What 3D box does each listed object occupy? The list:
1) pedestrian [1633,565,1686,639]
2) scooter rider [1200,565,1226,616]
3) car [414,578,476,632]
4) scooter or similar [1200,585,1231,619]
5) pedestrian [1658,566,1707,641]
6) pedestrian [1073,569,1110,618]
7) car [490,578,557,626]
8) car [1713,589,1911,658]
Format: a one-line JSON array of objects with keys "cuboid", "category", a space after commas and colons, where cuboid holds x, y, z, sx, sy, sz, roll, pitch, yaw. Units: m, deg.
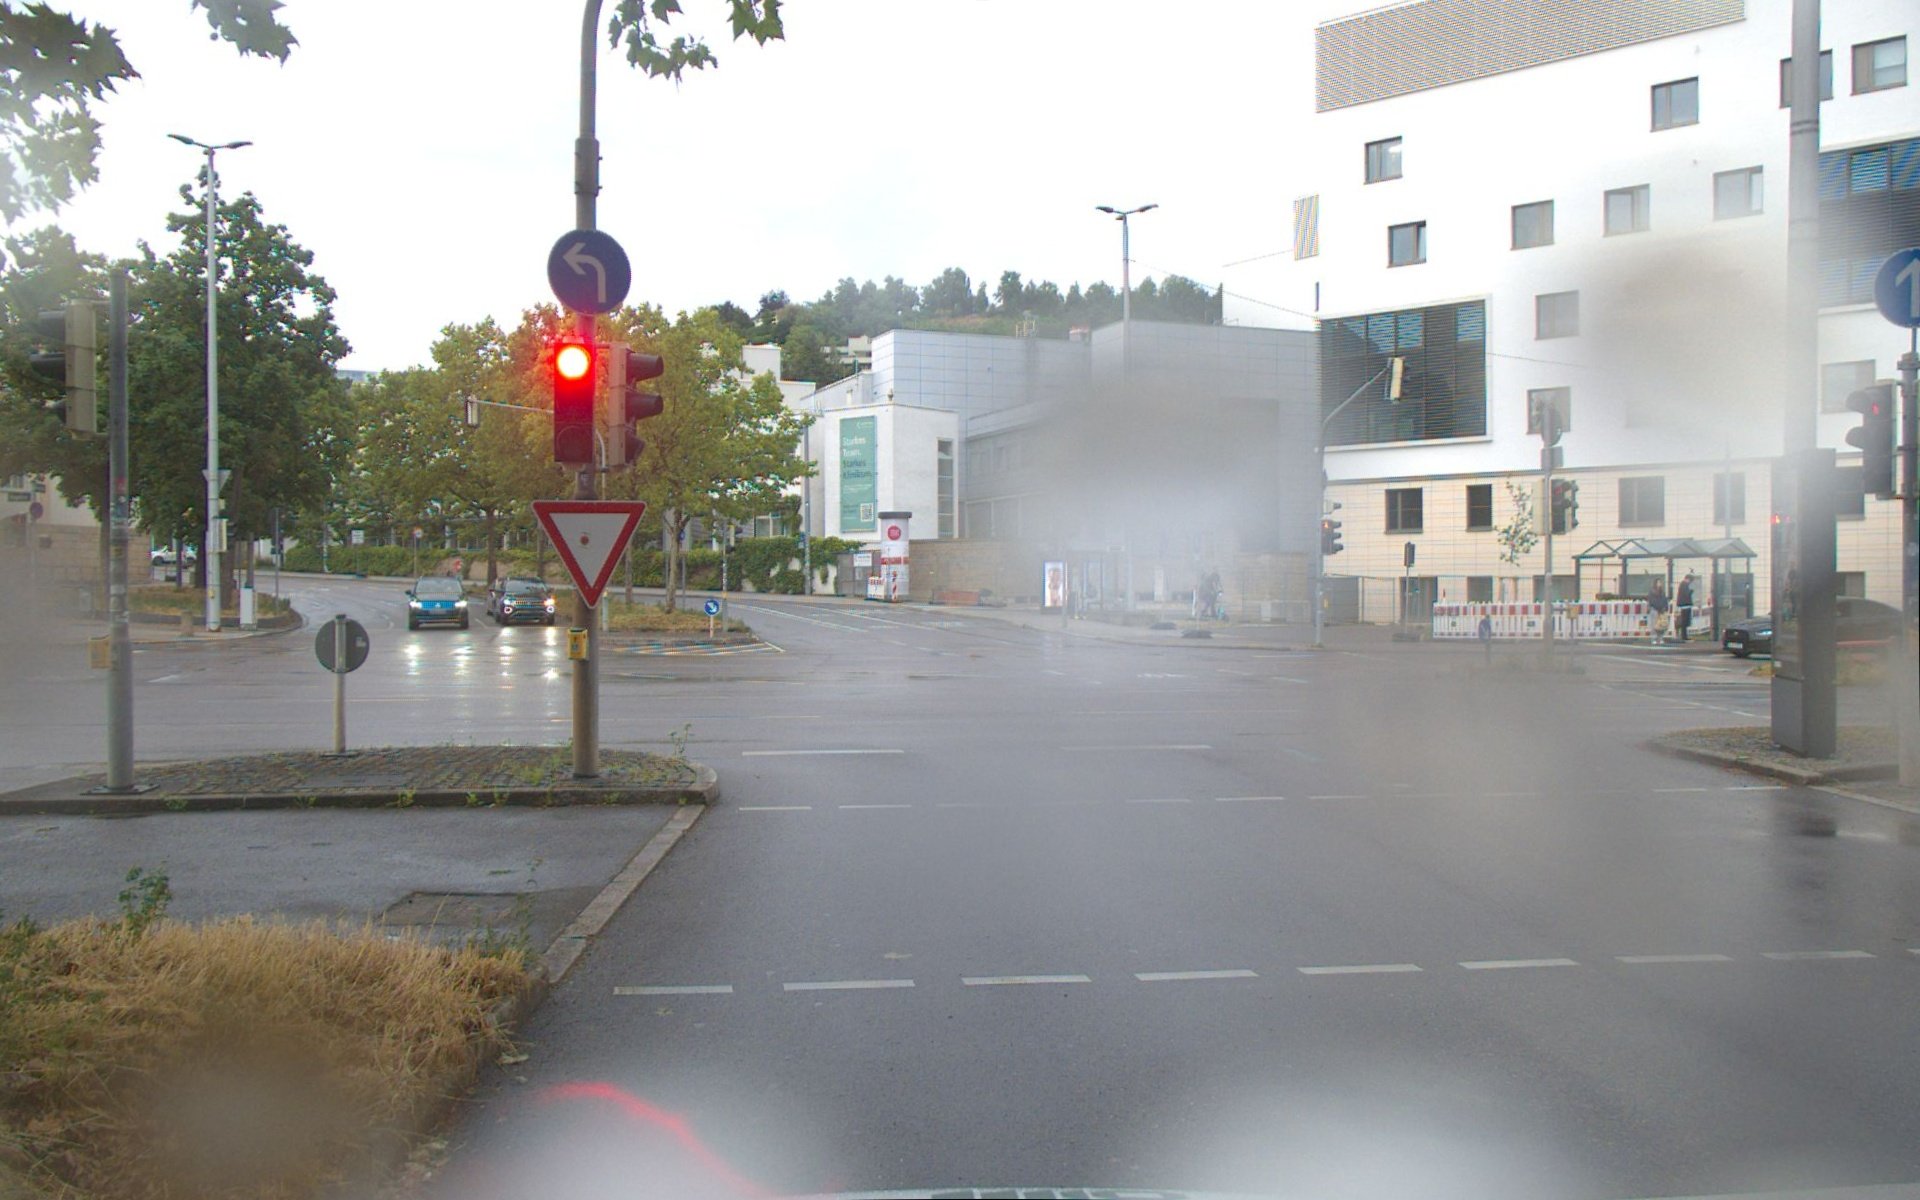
[{"cuboid": [18.007, 0.064, 42.603, 0.934, 1.872, 0.821, 2, -1, -12], "category": "pedestrian"}, {"cuboid": [9.608, -0.366, 62.754, 0.713, 1.916, 0.628, 2, -1, -21], "category": "scooter rider"}, {"cuboid": [-16.671, 0.135, 53.517, 1.839, 1.591, 4.255, -1, 2, -18], "category": "car"}, {"cuboid": [9.697, 0.077, 62.794, 0.582, 1.260, 1.305, 2, -1, -22], "category": "scooter or similar"}, {"cuboid": [19.490, 0.097, 44.654, 0.980, 1.969, 0.955, 1, -1, 9], "category": "pedestrian"}, {"cuboid": [4.885, -0.237, 61.641, 1.232, 1.749, 1.016, 1, -1, -2], "category": "pedestrian"}, {"cuboid": [-15.192, 0.034, 57.487, 1.764, 1.612, 3.973, 0, 1, -22], "category": "car"}, {"cuboid": [19.779, 0.537, 38.439, 3.921, 1.469, 1.790, 2, 0, -16], "category": "car"}]
